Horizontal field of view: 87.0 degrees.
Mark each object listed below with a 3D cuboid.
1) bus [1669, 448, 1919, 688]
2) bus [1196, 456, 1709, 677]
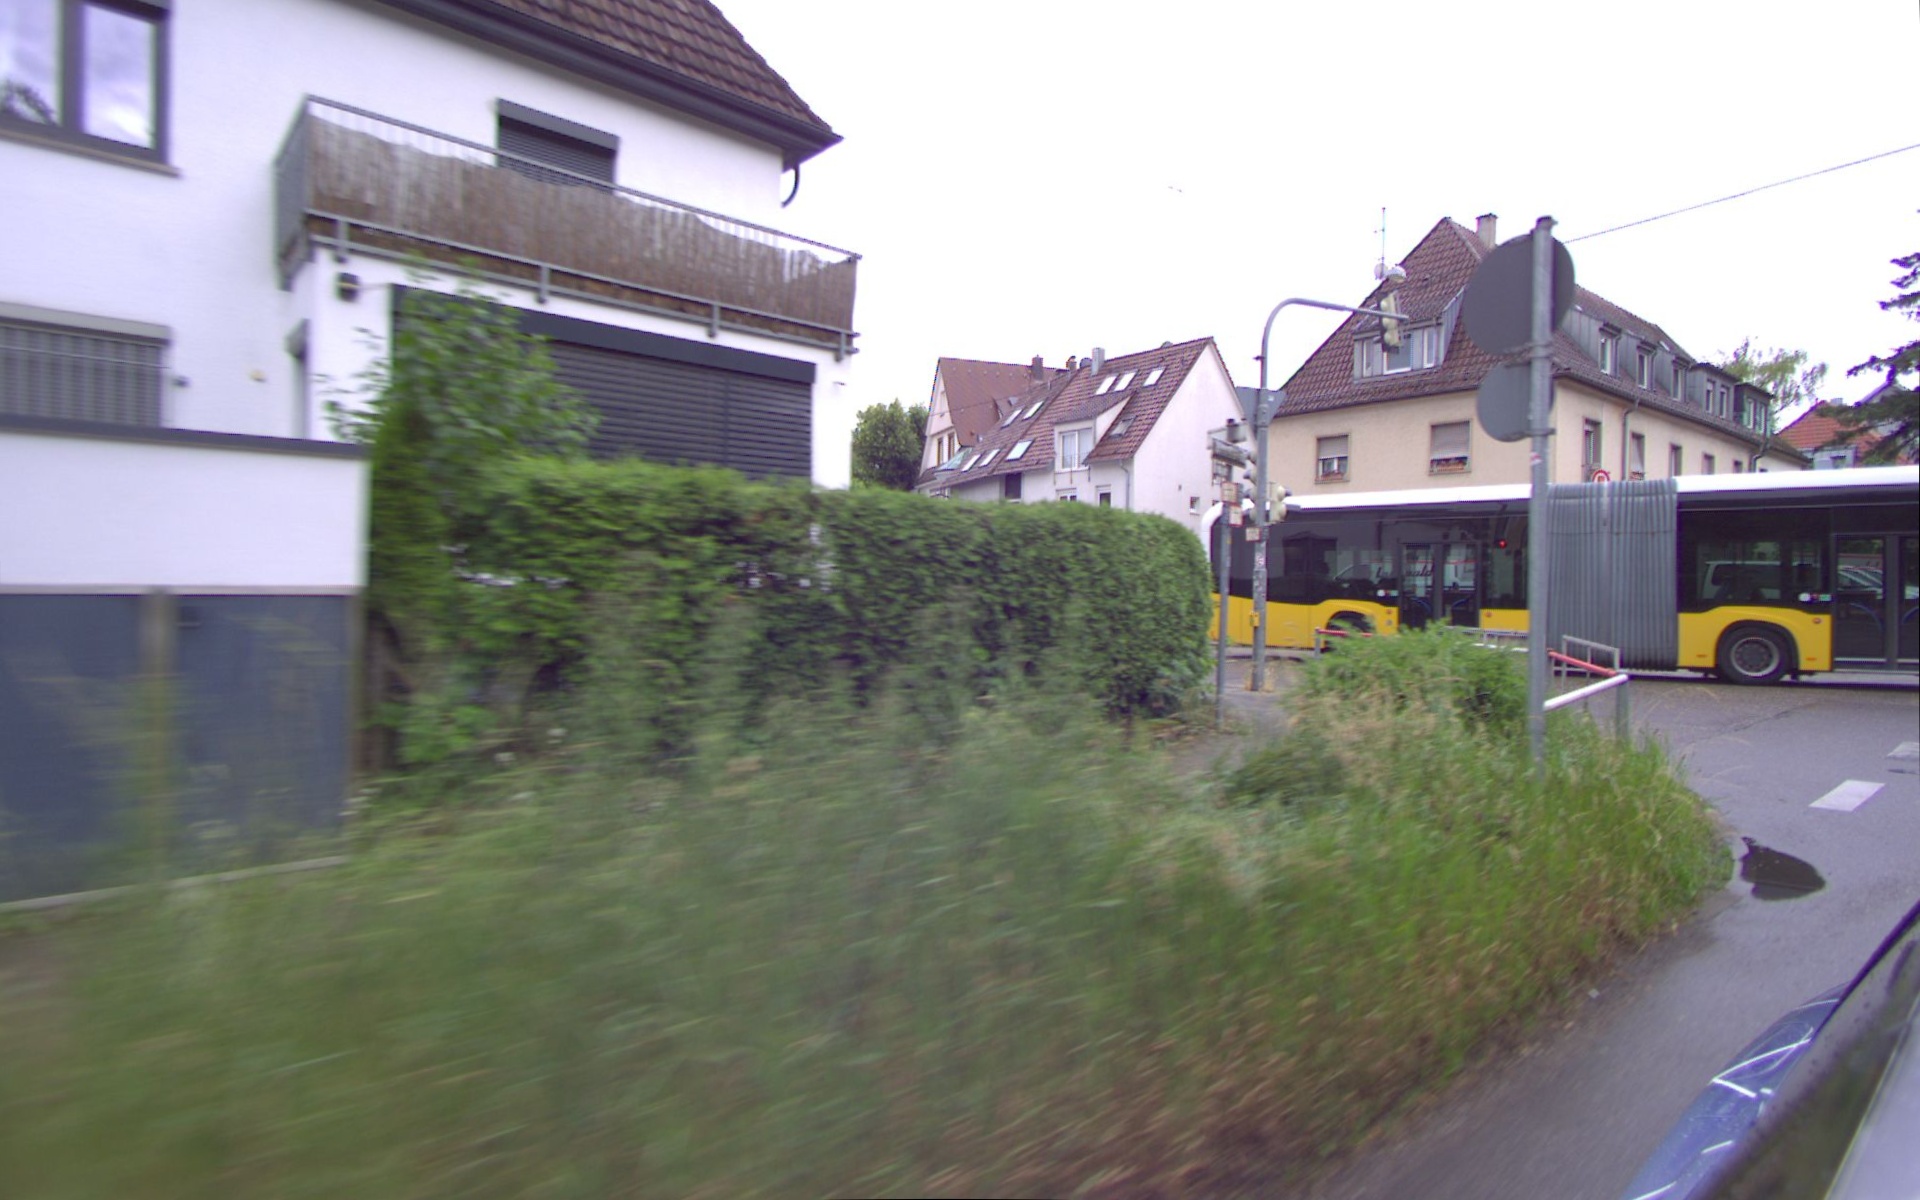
[{"bbox_3d":[16.049,-0.453,14.851,8.963,3.441,2.878,0,0,30],"label":"bus"},{"bbox_3d":[9.098,-0.557,19.722,8.649,3.441,2.643,1,0,43],"label":"bus"}]
